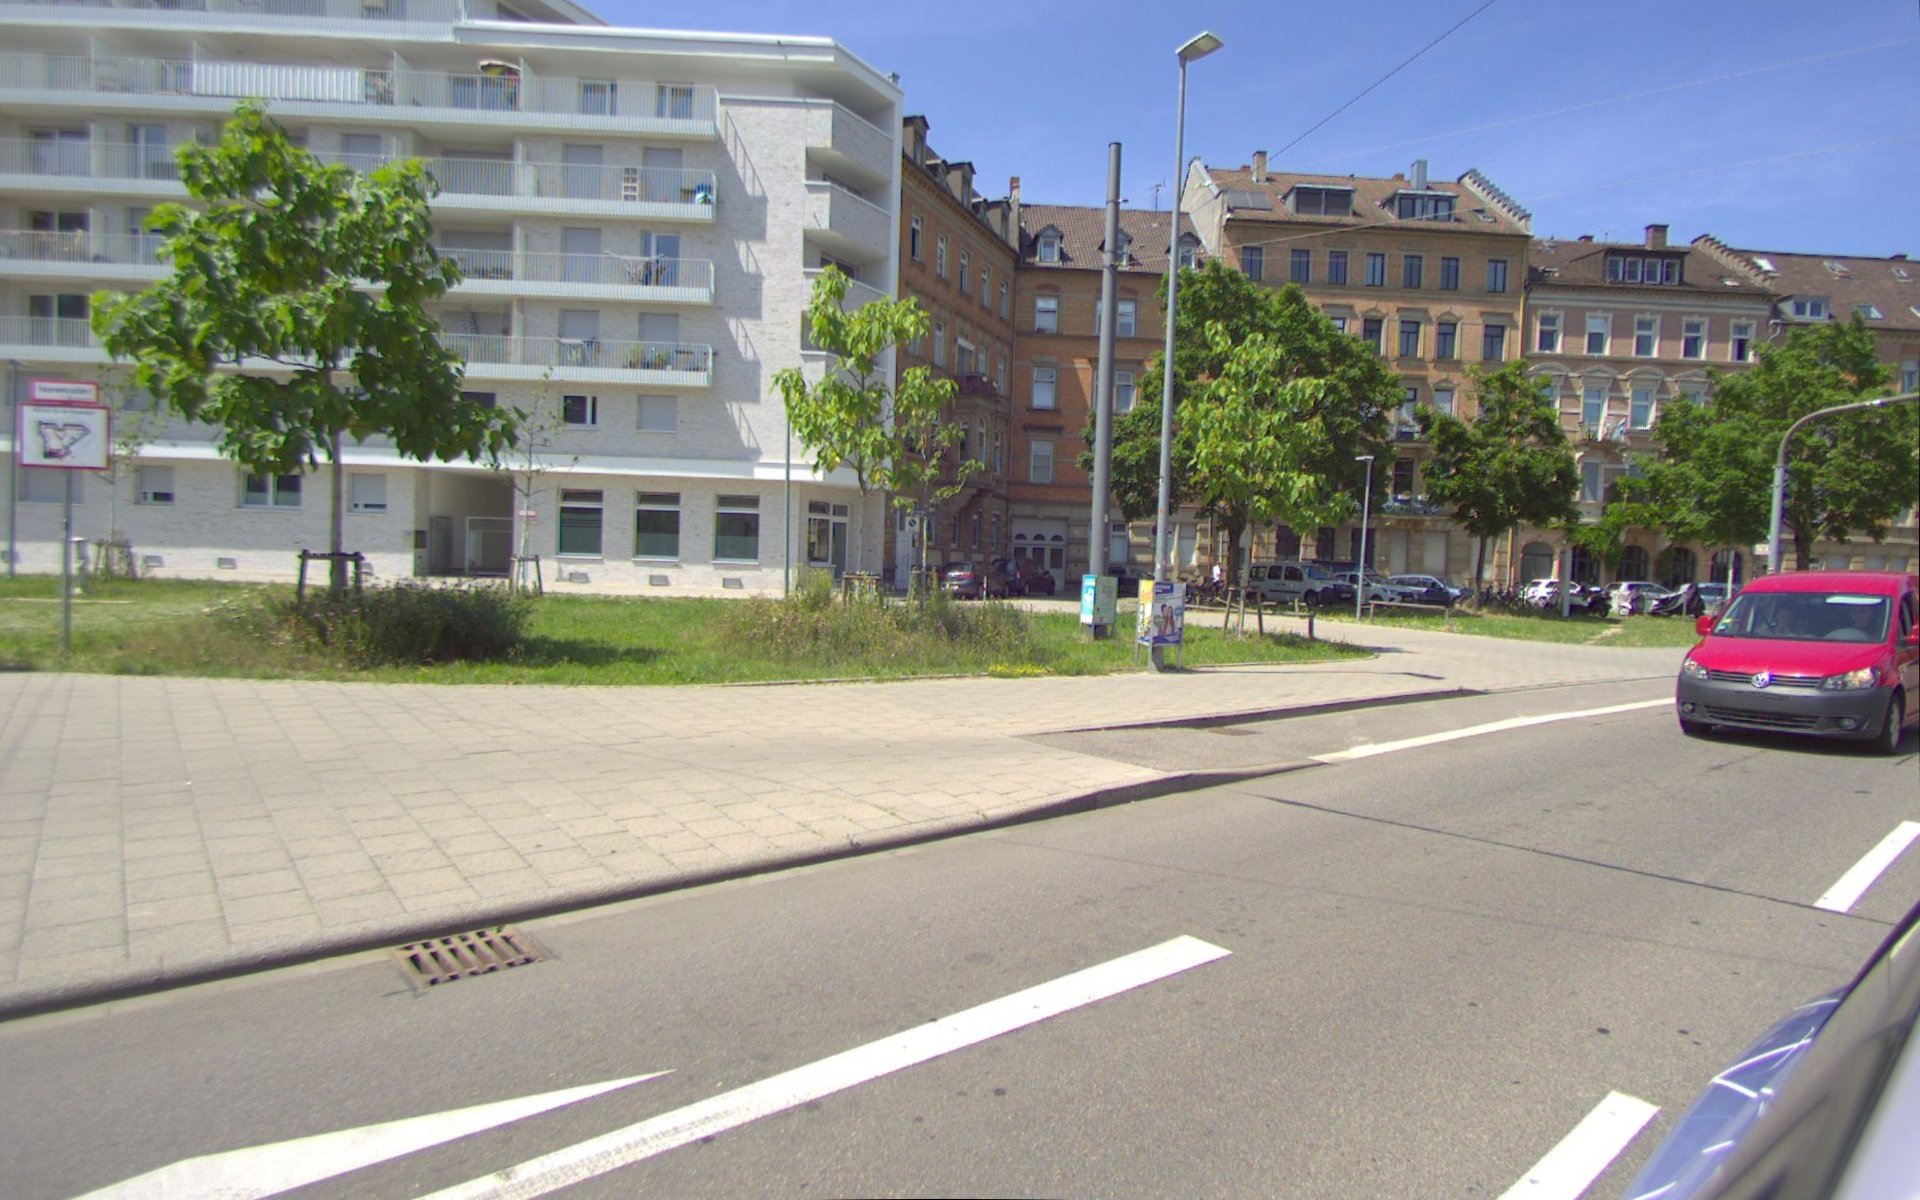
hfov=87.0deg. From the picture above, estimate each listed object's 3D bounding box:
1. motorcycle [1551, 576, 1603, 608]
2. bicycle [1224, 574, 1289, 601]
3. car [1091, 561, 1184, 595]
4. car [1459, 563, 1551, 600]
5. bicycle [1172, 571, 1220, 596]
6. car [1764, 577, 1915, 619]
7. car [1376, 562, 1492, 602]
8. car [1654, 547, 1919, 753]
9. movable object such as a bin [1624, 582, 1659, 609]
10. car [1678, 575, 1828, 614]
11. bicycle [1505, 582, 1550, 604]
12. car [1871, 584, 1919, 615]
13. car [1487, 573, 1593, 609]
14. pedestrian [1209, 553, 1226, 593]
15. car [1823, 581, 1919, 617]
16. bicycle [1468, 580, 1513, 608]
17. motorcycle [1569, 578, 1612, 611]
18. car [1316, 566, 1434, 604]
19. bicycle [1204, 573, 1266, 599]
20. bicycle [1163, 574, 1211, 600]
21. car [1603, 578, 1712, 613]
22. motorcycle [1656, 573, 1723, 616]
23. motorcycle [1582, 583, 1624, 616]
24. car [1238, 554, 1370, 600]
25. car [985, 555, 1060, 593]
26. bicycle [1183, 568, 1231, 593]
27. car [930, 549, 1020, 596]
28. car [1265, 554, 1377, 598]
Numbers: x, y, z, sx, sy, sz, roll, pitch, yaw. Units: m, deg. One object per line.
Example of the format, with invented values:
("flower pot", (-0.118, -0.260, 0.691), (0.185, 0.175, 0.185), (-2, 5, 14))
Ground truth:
("motorcycle", (22.476, -0.289, 36.907), (0.517, 1.134, 1.831), (2, 1, -9))
("bicycle", (11.257, -0.488, 38.535), (0.500, 0.947, 2.421), (1, 1, -44))
("car", (8.293, -1.020, 47.482), (3.922, 1.438, 1.778), (2, 1, -3))
("car", (22.417, -0.744, 41.828), (1.923, 1.393, 3.994), (2, 1, 6))
("bicycle", (9.123, -0.649, 39.167), (0.498, 0.947, 2.052), (1, 1, -32))
("car", (34.300, -0.112, 39.597), (1.761, 1.488, 4.098), (1, 1, -29))
("car", (18.462, -0.720, 39.594), (1.575, 1.450, 3.873), (1, 1, -30))
("car", (9.916, 0.466, 11.381), (5.068, 1.857, 1.861), (1, 1, -36))
("movable object such as a bin", (25.484, -0.173, 37.849), (0.690, 0.949, 0.986), (2, 1, 10))
("car", (30.968, -0.243, 39.661), (1.550, 1.393, 4.355), (1, 1, -27))
("bicycle", (21.542, -0.274, 38.439), (1.445, 0.815, 0.493), (2, 1, 33))
("car", (46.417, 0.028, 48.625), (3.643, 1.438, 1.786), (2, 1, -2))
("car", (27.727, -0.435, 48.472), (3.924, 1.549, 1.842), (2, 1, 0))
("pedestrian", (12.072, -1.251, 47.450), (0.591, 1.842, 0.453), (2, 0, -2))
("car", (36.840, -0.027, 39.755), (1.931, 1.330, 4.008), (1, 1, -23))
("bicycle", (18.936, -0.215, 36.154), (1.354, 0.959, 0.473), (2, 0, 20))
("motorcycle", (25.382, -0.225, 40.773), (0.800, 1.251, 2.077), (2, 1, 13))
("car", (15.983, -0.593, 39.180), (1.723, 1.349, 4.006), (1, 1, -28))
("bicycle", (10.839, -0.573, 39.949), (0.500, 0.947, 2.421), (0, 2, -44))
("bicycle", (8.645, -0.520, 38.631), (0.498, 0.947, 2.052), (1, 1, -32))
("car", (33.420, -0.235, 48.544), (3.921, 1.549, 1.844), (2, 1, -3))
("motorcycle", (25.999, -0.210, 36.092), (1.821, 1.430, 0.677), (2, 2, 0))
("motorcycle", (23.418, -0.032, 36.876), (0.468, 1.134, 1.526), (2, 1, -2))
("car", (13.173, -0.911, 39.054), (1.799, 1.621, 4.882), (1, 1, -28))
("car", (2.751, -1.094, 43.697), (1.760, 1.548, 4.043), (2, 1, 27))
("bicycle", (9.626, -0.779, 39.494), (0.498, 0.947, 2.052), (1, 1, -32))
("car", (0.605, -0.987, 37.691), (1.679, 1.645, 4.090), (2, 1, 27))
("car", (17.111, -1.144, 48.082), (4.564, 1.927, 1.926), (2, 1, -1))
